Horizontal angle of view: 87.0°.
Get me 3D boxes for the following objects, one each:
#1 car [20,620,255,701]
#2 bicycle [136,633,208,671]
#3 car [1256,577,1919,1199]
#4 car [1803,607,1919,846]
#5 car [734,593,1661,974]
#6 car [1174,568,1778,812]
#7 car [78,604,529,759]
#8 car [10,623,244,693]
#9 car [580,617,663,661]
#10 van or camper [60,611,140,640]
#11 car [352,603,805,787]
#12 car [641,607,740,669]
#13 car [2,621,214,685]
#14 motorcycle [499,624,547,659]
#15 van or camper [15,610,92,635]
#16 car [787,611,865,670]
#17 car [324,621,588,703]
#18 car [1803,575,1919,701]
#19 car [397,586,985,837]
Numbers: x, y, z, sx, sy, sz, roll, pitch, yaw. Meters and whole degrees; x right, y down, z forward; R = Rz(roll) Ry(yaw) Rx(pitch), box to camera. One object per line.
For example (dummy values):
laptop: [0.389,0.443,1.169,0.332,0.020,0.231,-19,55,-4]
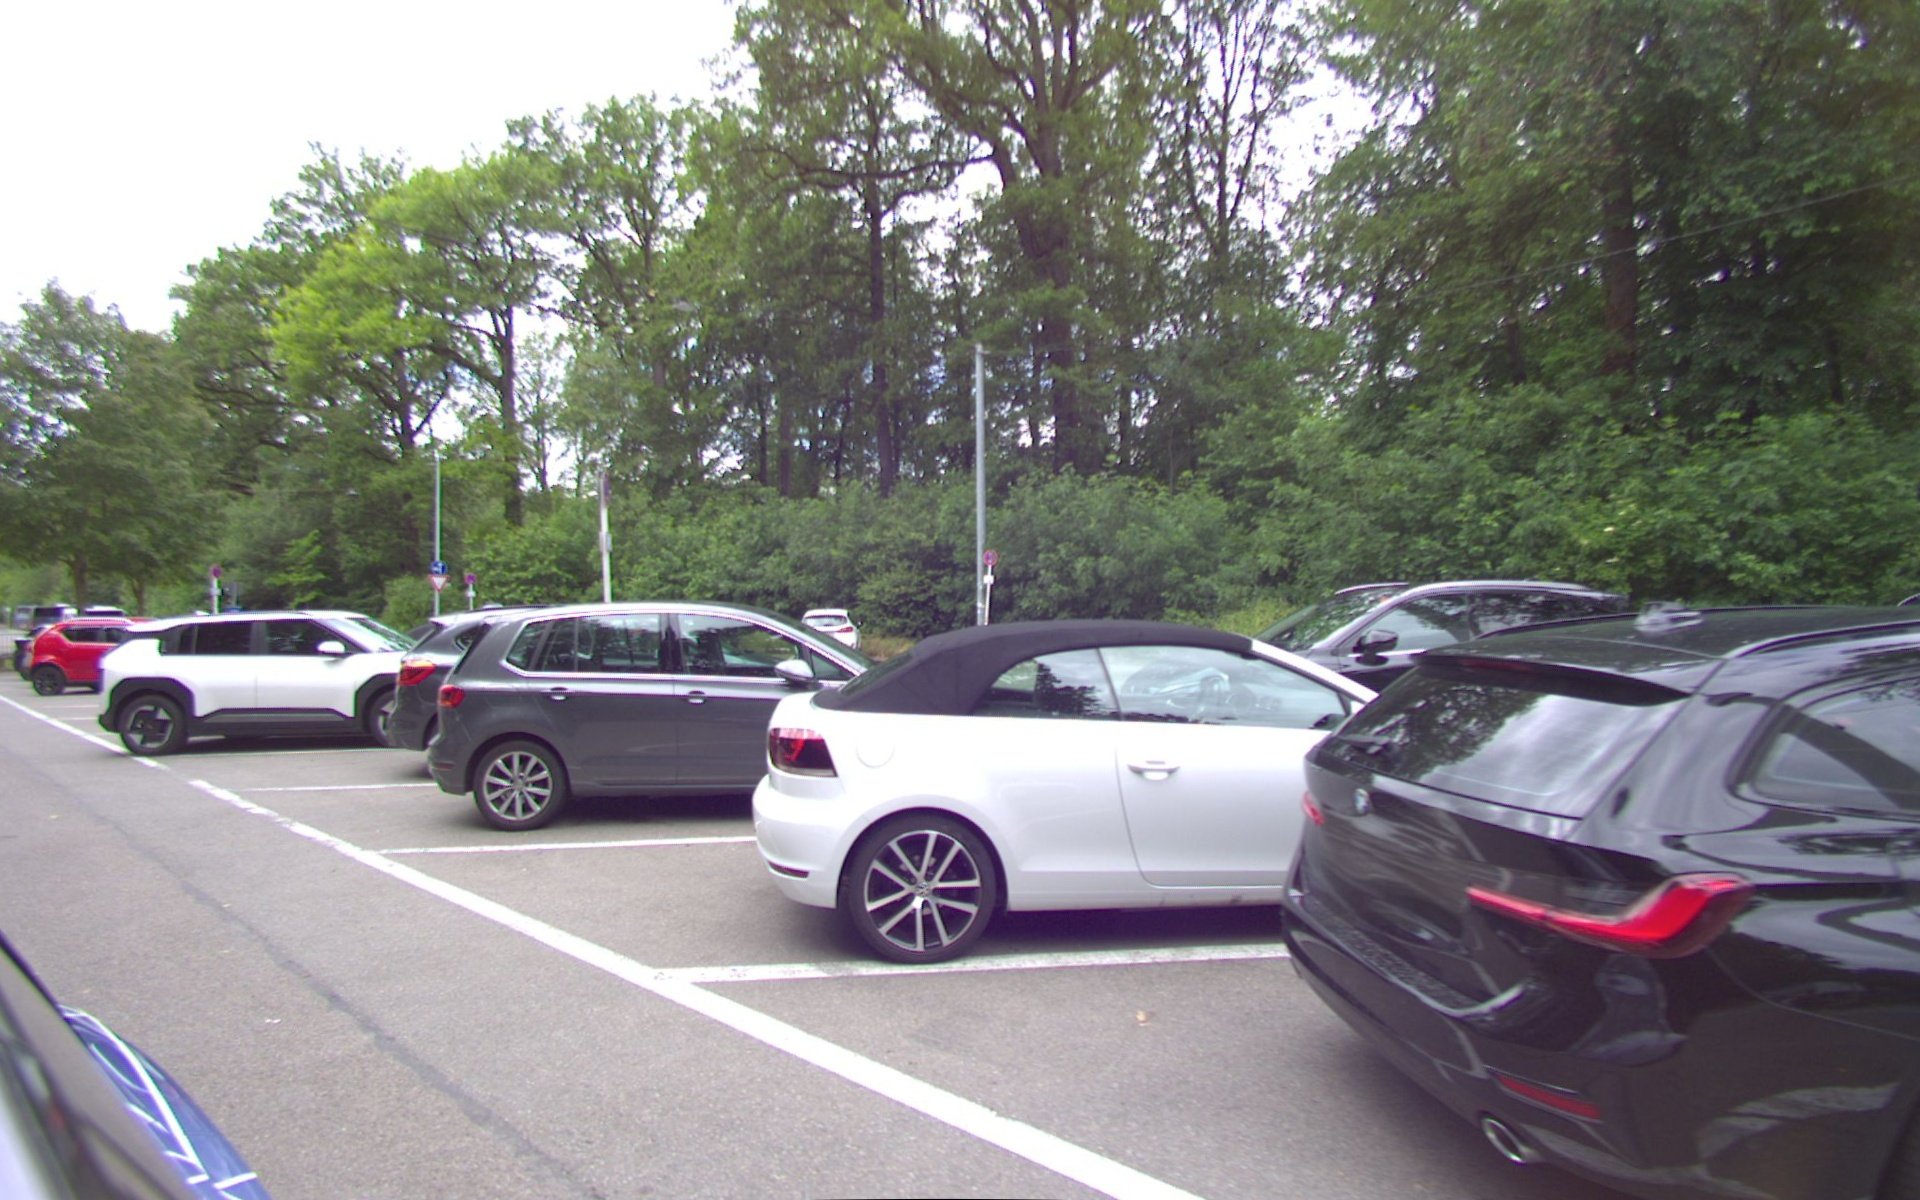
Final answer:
car: [-17.571,1.256,21.764,3.598,1.597,1.689,-1,-1,-6]
bicycle: [-24.843,1.615,31.921,0.483,1.120,1.763,-2,-1,45]
car: [3.207,0.675,2.742,4.213,1.454,1.762,-1,-1,-5]
car: [7.817,0.716,5.928,4.326,1.405,1.770,-1,-1,-3]
car: [0.949,0.742,5.005,3.789,1.454,1.774,-1,-1,-3]
car: [3.985,0.644,8.279,3.939,1.676,1.901,-1,-1,-5]
car: [-7.566,0.898,12.048,4.125,1.609,1.849,-1,-1,-6]
car: [-19.672,1.335,24.055,3.938,1.495,1.879,-1,-1,-6]
car: [-11.655,1.317,35.120,1.714,1.386,4.002,-1,-1,-3]
van or camper: [-90.057,2.640,106.090,2.040,2.871,7.336,-1,-1,1]
car: [-3.584,0.860,10.173,3.935,1.566,1.877,-1,-1,-10]
car: [-8.436,1.159,32.103,2.081,1.780,4.711,-1,-1,-3]
car: [-22.310,1.361,26.608,4.042,1.534,1.831,-1,-1,-1]
motorcycle: [-16.121,1.524,37.392,0.722,1.217,2.025,-1,-1,7]
van or camper: [-108.402,2.668,121.163,2.177,2.871,7.326,-1,-1,6]
car: [-3.700,1.097,28.568,1.842,1.522,4.002,-1,-1,-3]
car: [-9.716,1.166,19.799,4.249,1.453,1.872,-1,-1,-6]
car: [13.818,0.492,13.386,1.758,1.698,4.073,-1,-1,-2]
car: [-1.867,0.762,7.796,3.918,1.599,1.849,-1,-1,-4]
